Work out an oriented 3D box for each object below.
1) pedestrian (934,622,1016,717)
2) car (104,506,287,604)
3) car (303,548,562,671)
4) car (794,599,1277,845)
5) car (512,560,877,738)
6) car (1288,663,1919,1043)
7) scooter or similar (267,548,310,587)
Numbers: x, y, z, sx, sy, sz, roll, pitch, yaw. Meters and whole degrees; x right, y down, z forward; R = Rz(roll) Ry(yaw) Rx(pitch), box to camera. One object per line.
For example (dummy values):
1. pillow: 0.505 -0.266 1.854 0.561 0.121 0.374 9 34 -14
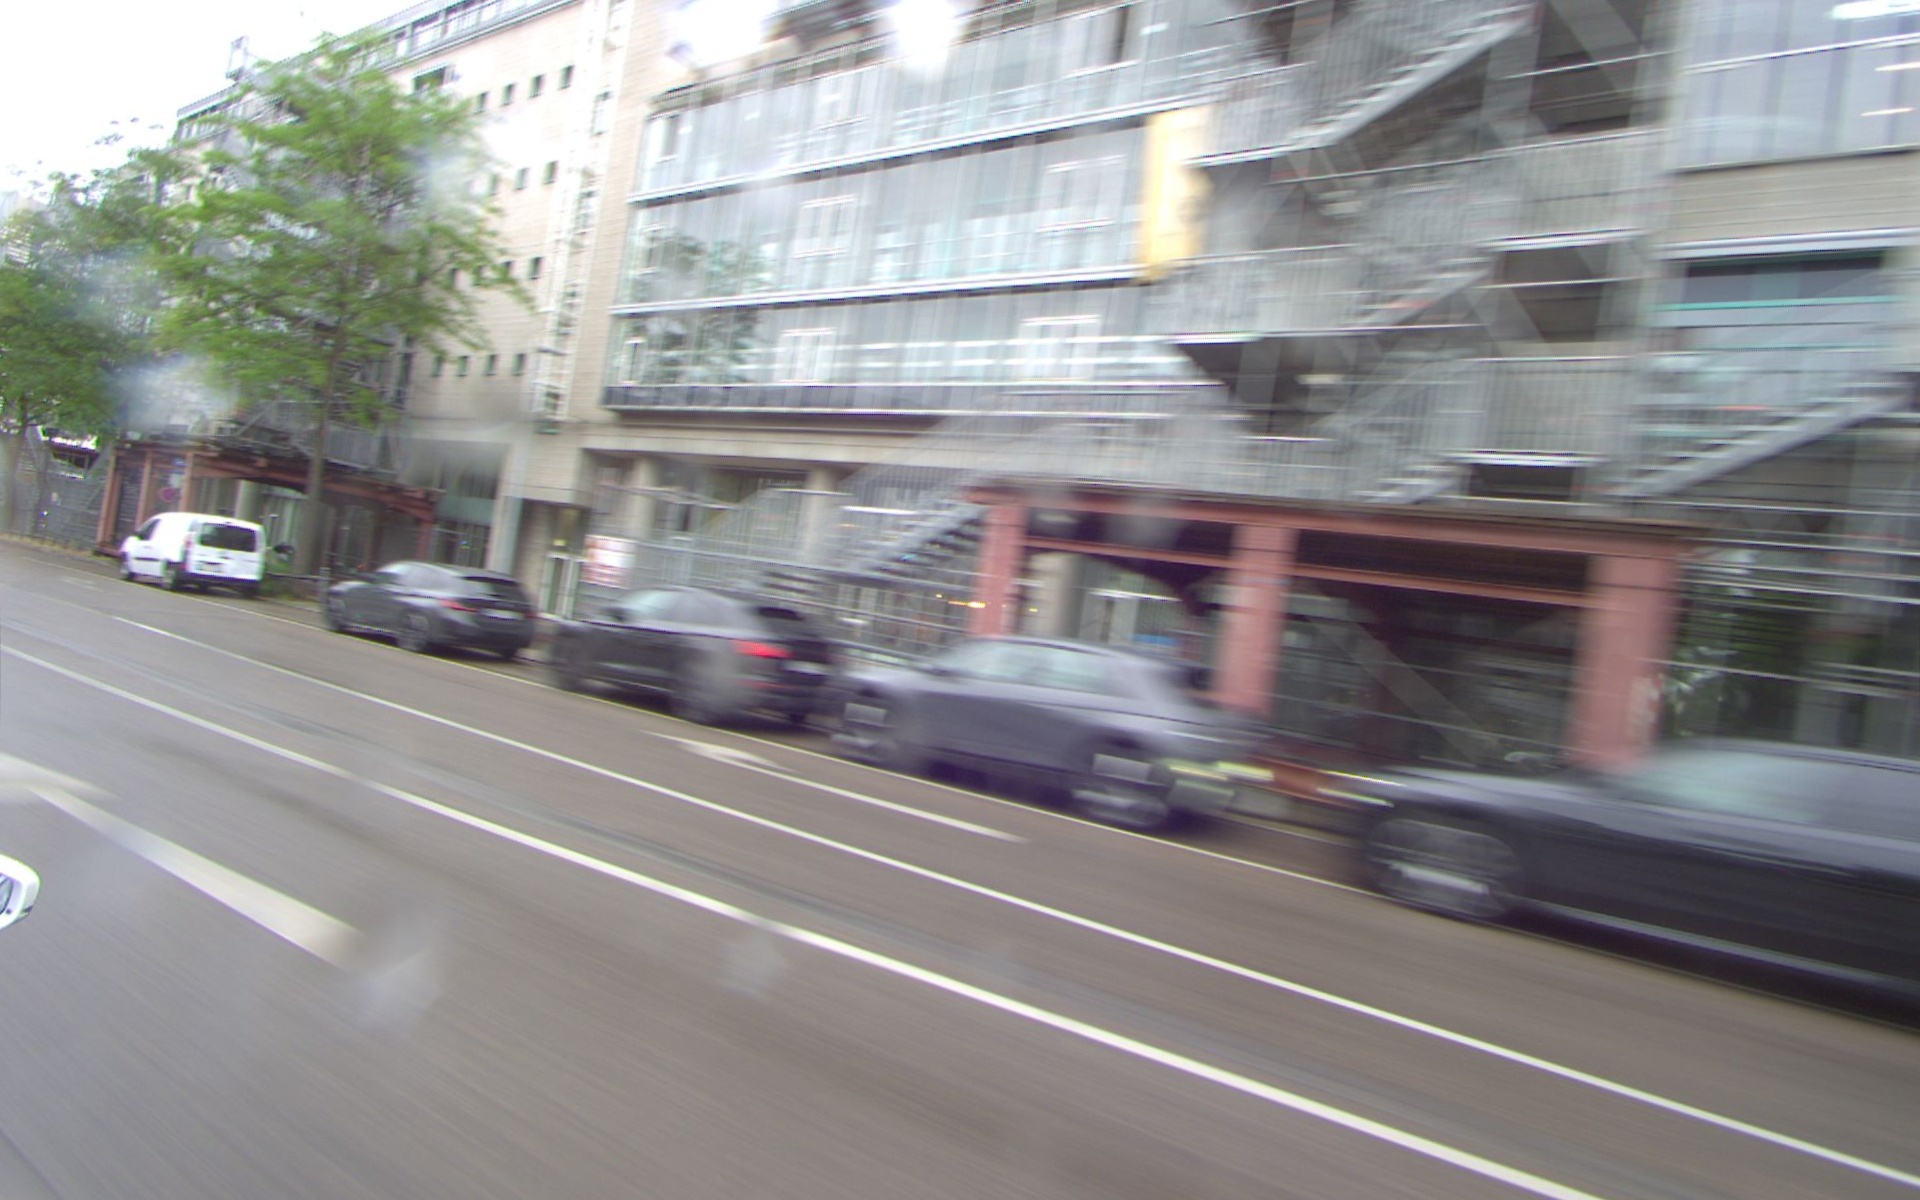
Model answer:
1. pedestrian: 0.285 1.318 19.022 1.094 1.614 0.820 7 -1 29
2. car: -18.372 -1.104 24.124 4.454 1.770 1.996 7 -2 34
3. car: -9.131 0.119 17.256 4.844 1.454 1.871 7 -2 36
4. car: 0.671 1.114 10.439 4.518 1.619 1.864 7 -2 34
5. car: -3.651 0.597 13.446 4.786 1.665 1.995 7 -2 36
6. car: 5.203 1.624 6.760 5.208 1.619 1.995 7 -2 37
7. scooter or similar: -23.830 -1.164 35.688 1.522 1.175 0.632 7 -1 34
